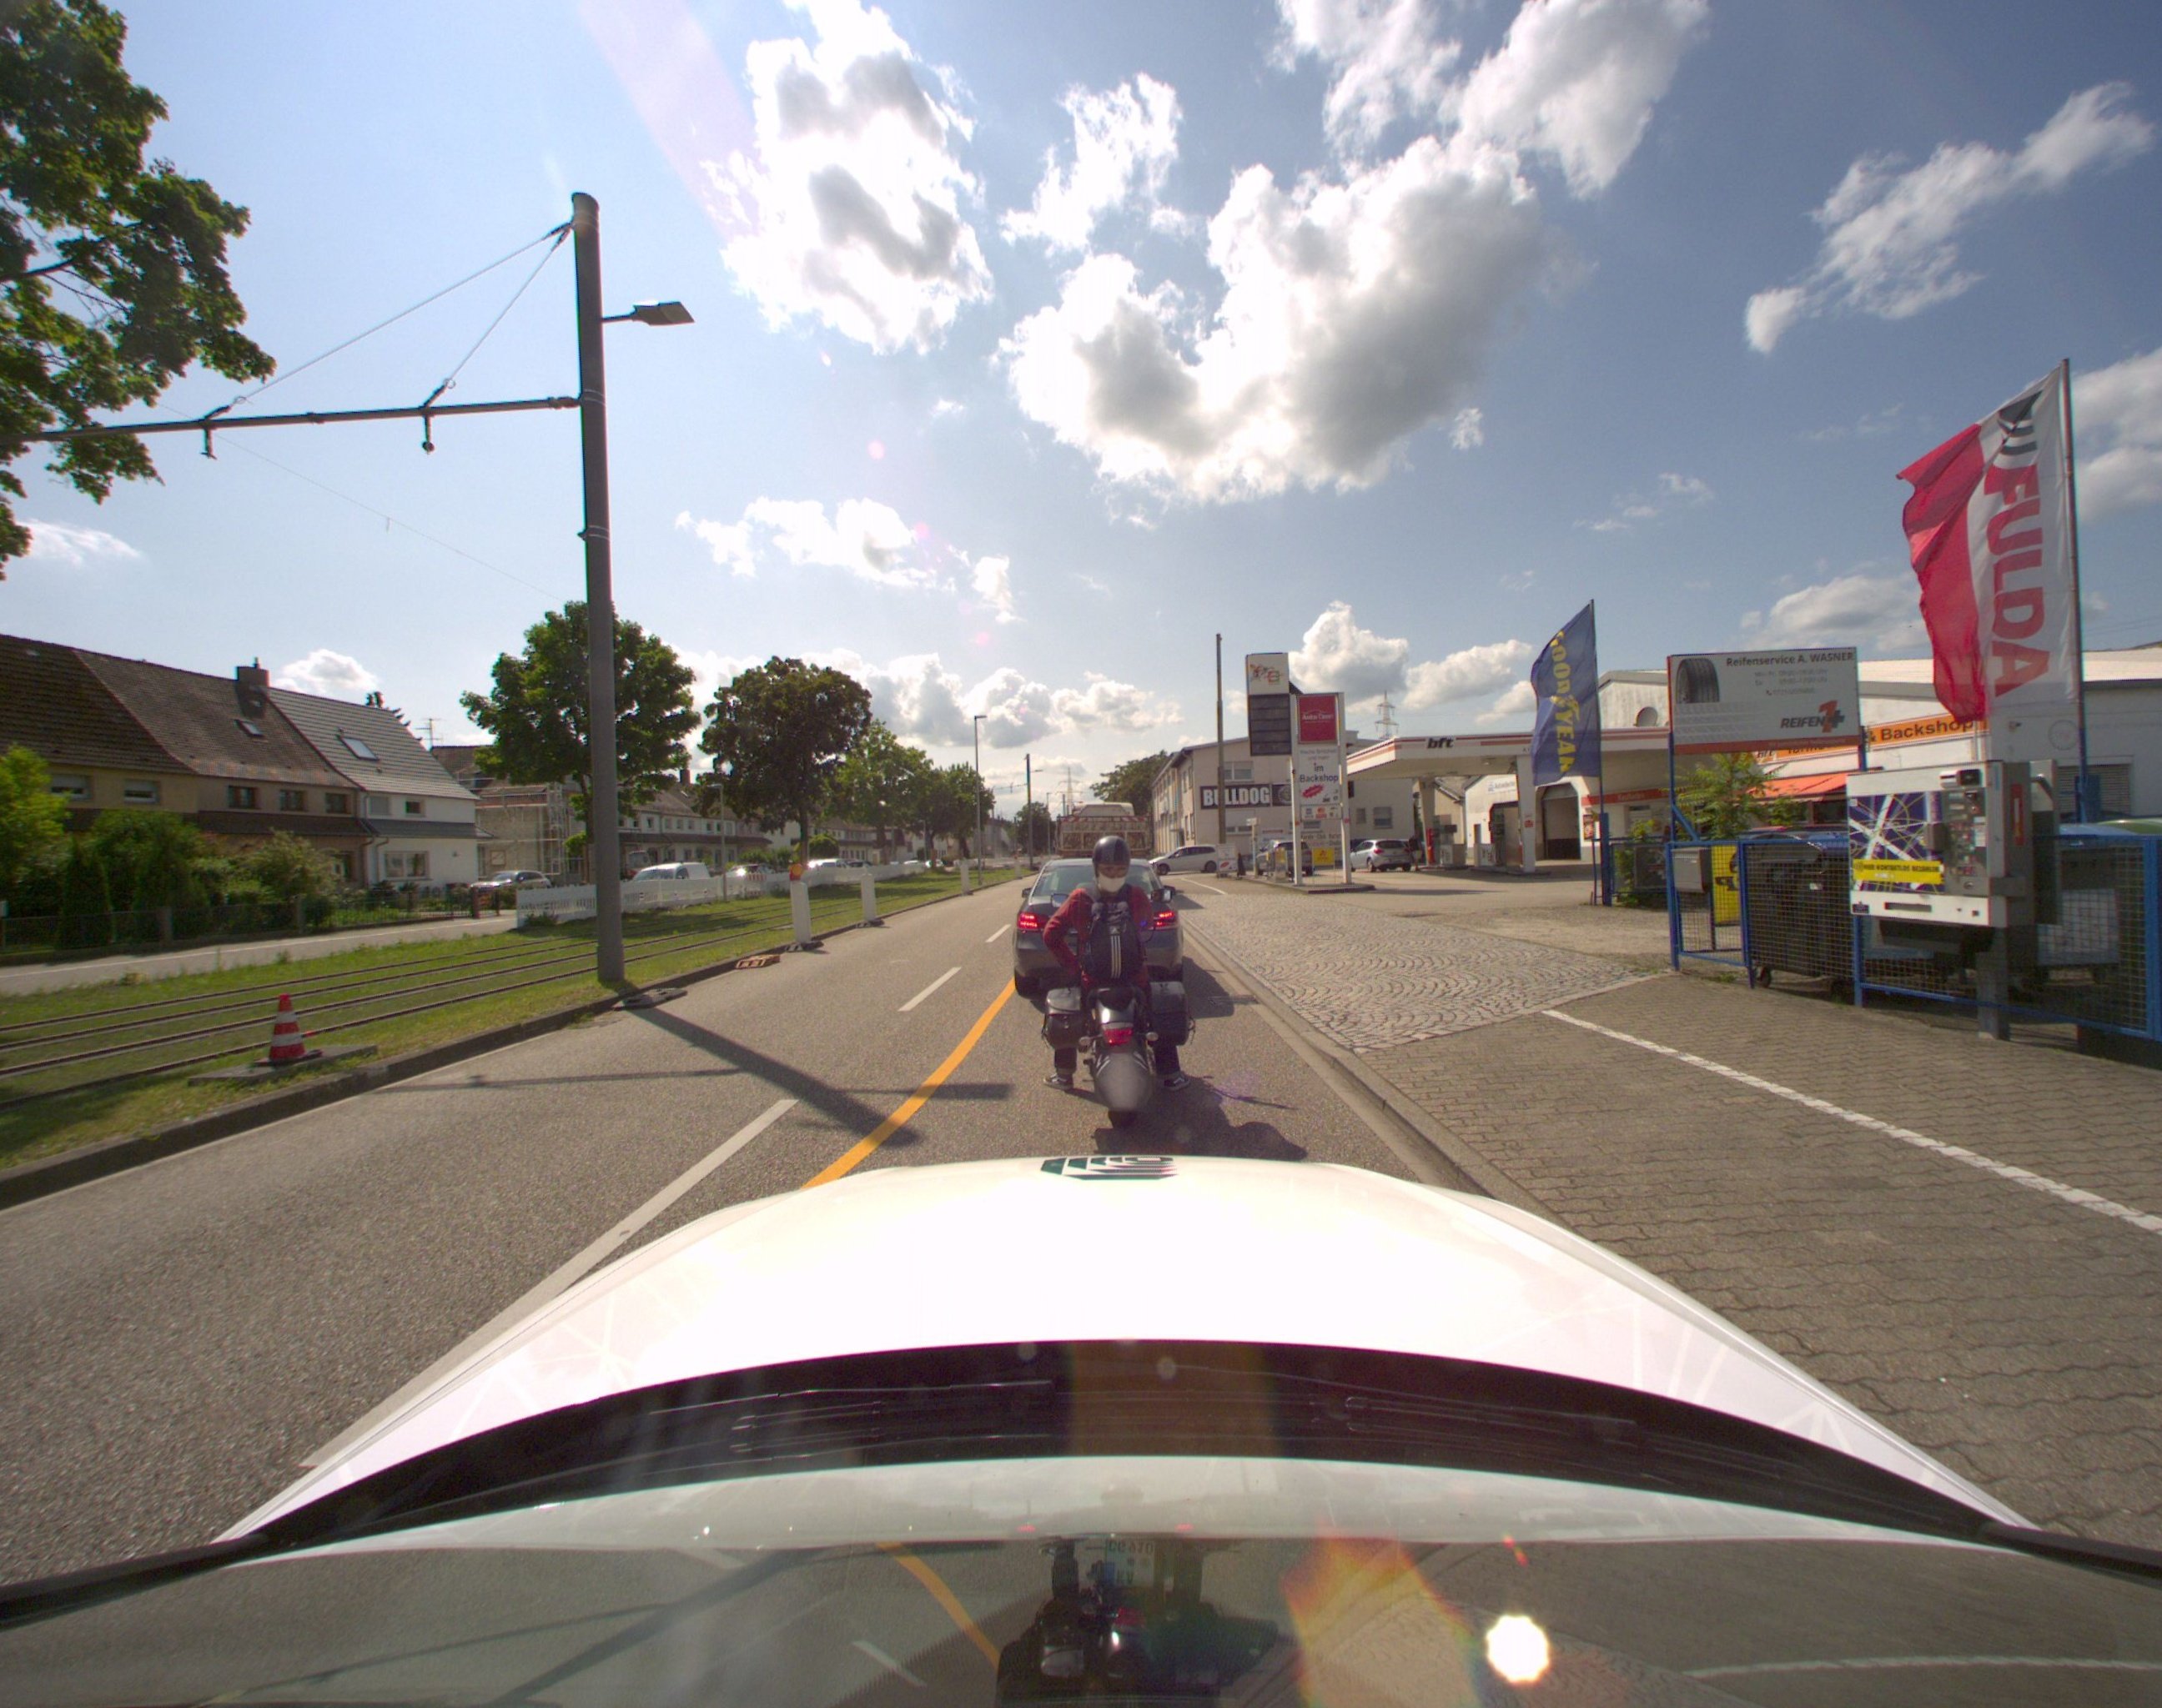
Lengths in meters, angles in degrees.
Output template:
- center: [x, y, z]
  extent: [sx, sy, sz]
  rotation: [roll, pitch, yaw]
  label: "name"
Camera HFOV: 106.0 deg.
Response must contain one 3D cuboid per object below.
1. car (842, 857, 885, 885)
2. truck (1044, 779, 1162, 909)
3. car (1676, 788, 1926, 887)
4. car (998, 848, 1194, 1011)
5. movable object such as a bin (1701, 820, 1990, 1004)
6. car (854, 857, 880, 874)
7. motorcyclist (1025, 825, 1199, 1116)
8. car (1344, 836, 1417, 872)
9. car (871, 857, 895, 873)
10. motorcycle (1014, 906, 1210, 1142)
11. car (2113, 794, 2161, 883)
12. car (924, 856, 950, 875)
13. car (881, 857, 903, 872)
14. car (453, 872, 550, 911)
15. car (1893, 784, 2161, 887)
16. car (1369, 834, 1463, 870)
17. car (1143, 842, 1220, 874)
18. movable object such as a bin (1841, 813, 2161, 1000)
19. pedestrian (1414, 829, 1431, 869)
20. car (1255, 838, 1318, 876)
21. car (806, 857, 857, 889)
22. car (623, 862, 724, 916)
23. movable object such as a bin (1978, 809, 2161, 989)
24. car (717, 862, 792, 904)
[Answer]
- center: [-14.868, 1.139, 55.757]
  extent: [1.692, 1.739, 3.862]
  rotation: [-2, 0, 2]
  label: "car"
- center: [0.641, -0.281, 25.602]
  extent: [2.960, 3.304, 8.407]
  rotation: [-2, 0, 1]
  label: "truck"
- center: [16.600, -0.371, 18.959]
  extent: [3.972, 2.013, 2.001]
  rotation: [-2, 0, 1]
  label: "car"
- center: [0.175, 0.720, 9.846]
  extent: [1.826, 1.479, 4.009]
  rotation: [-3, 0, 1]
  label: "car"
- center: [6.823, 0.471, 7.402]
  extent: [1.222, 1.454, 1.455]
  rotation: [-2, 0, 0]
  label: "movable object such as a bin"
- center: [-24.463, 1.300, 93.138]
  extent: [1.692, 1.739, 4.064]
  rotation: [-2, 0, 2]
  label: "car"
- center: [0.192, 0.655, 5.194]
  extent: [0.966, 1.633, 1.215]
  rotation: [-1, 0, 1]
  label: "motorcyclist"
- center: [13.538, -0.023, 37.067]
  extent: [1.826, 1.479, 4.009]
  rotation: [-3, 0, 1]
  label: "car"
- center: [-24.056, 1.335, 99.127]
  extent: [1.692, 1.739, 4.064]
  rotation: [-2, 0, 2]
  label: "car"
- center: [0.193, 0.933, 5.312]
  extent: [0.972, 1.013, 2.433]
  rotation: [-1, 0, 2]
  label: "motorcycle"
- center: [26.351, -0.433, 18.183]
  extent: [3.972, 2.013, 2.001]
  rotation: [-2, 0, 1]
  label: "car"
- center: [-14.145, 1.149, 80.246]
  extent: [1.692, 1.739, 3.862]
  rotation: [-2, 0, 2]
  label: "car"
- center: [-24.377, 1.341, 105.364]
  extent: [1.692, 1.739, 4.064]
  rotation: [-2, 0, 2]
  label: "car"
- center: [-27.480, 1.731, 38.792]
  extent: [1.692, 1.593, 3.862]
  rotation: [-2, 0, 2]
  label: "car"
- center: [21.248, -0.400, 18.267]
  extent: [3.972, 2.013, 2.001]
  rotation: [-2, 0, 1]
  label: "car"
- center: [16.935, -0.100, 41.240]
  extent: [4.065, 1.624, 1.697]
  rotation: [-2, 0, 34]
  label: "car"
- center: [5.765, 0.227, 47.047]
  extent: [4.100, 1.624, 1.682]
  rotation: [-3, 0, -7]
  label: "car"
- center: [8.102, 0.417, 7.278]
  extent: [1.222, 1.454, 1.455]
  rotation: [-2, 0, 0]
  label: "movable object such as a bin"
- center: [14.813, -0.208, 35.320]
  extent: [0.628, 1.683, 0.626]
  rotation: [-2, 0, 23]
  label: "pedestrian"
- center: [9.151, 0.118, 36.635]
  extent: [1.826, 1.536, 4.009]
  rotation: [-3, 0, 1]
  label: "car"
- center: [-15.060, 1.110, 49.390]
  extent: [1.692, 1.739, 3.862]
  rotation: [-2, 0, 2]
  label: "car"
- center: [-15.419, 1.278, 31.055]
  extent: [1.692, 1.817, 3.862]
  rotation: [-2, 0, 2]
  label: "car"
- center: [9.448, 0.336, 7.188]
  extent: [1.425, 1.454, 1.455]
  rotation: [-2, 0, 0]
  label: "movable object such as a bin"
- center: [-15.326, 1.325, 38.486]
  extent: [1.692, 1.739, 4.056]
  rotation: [-2, 0, 2]
  label: "car"
